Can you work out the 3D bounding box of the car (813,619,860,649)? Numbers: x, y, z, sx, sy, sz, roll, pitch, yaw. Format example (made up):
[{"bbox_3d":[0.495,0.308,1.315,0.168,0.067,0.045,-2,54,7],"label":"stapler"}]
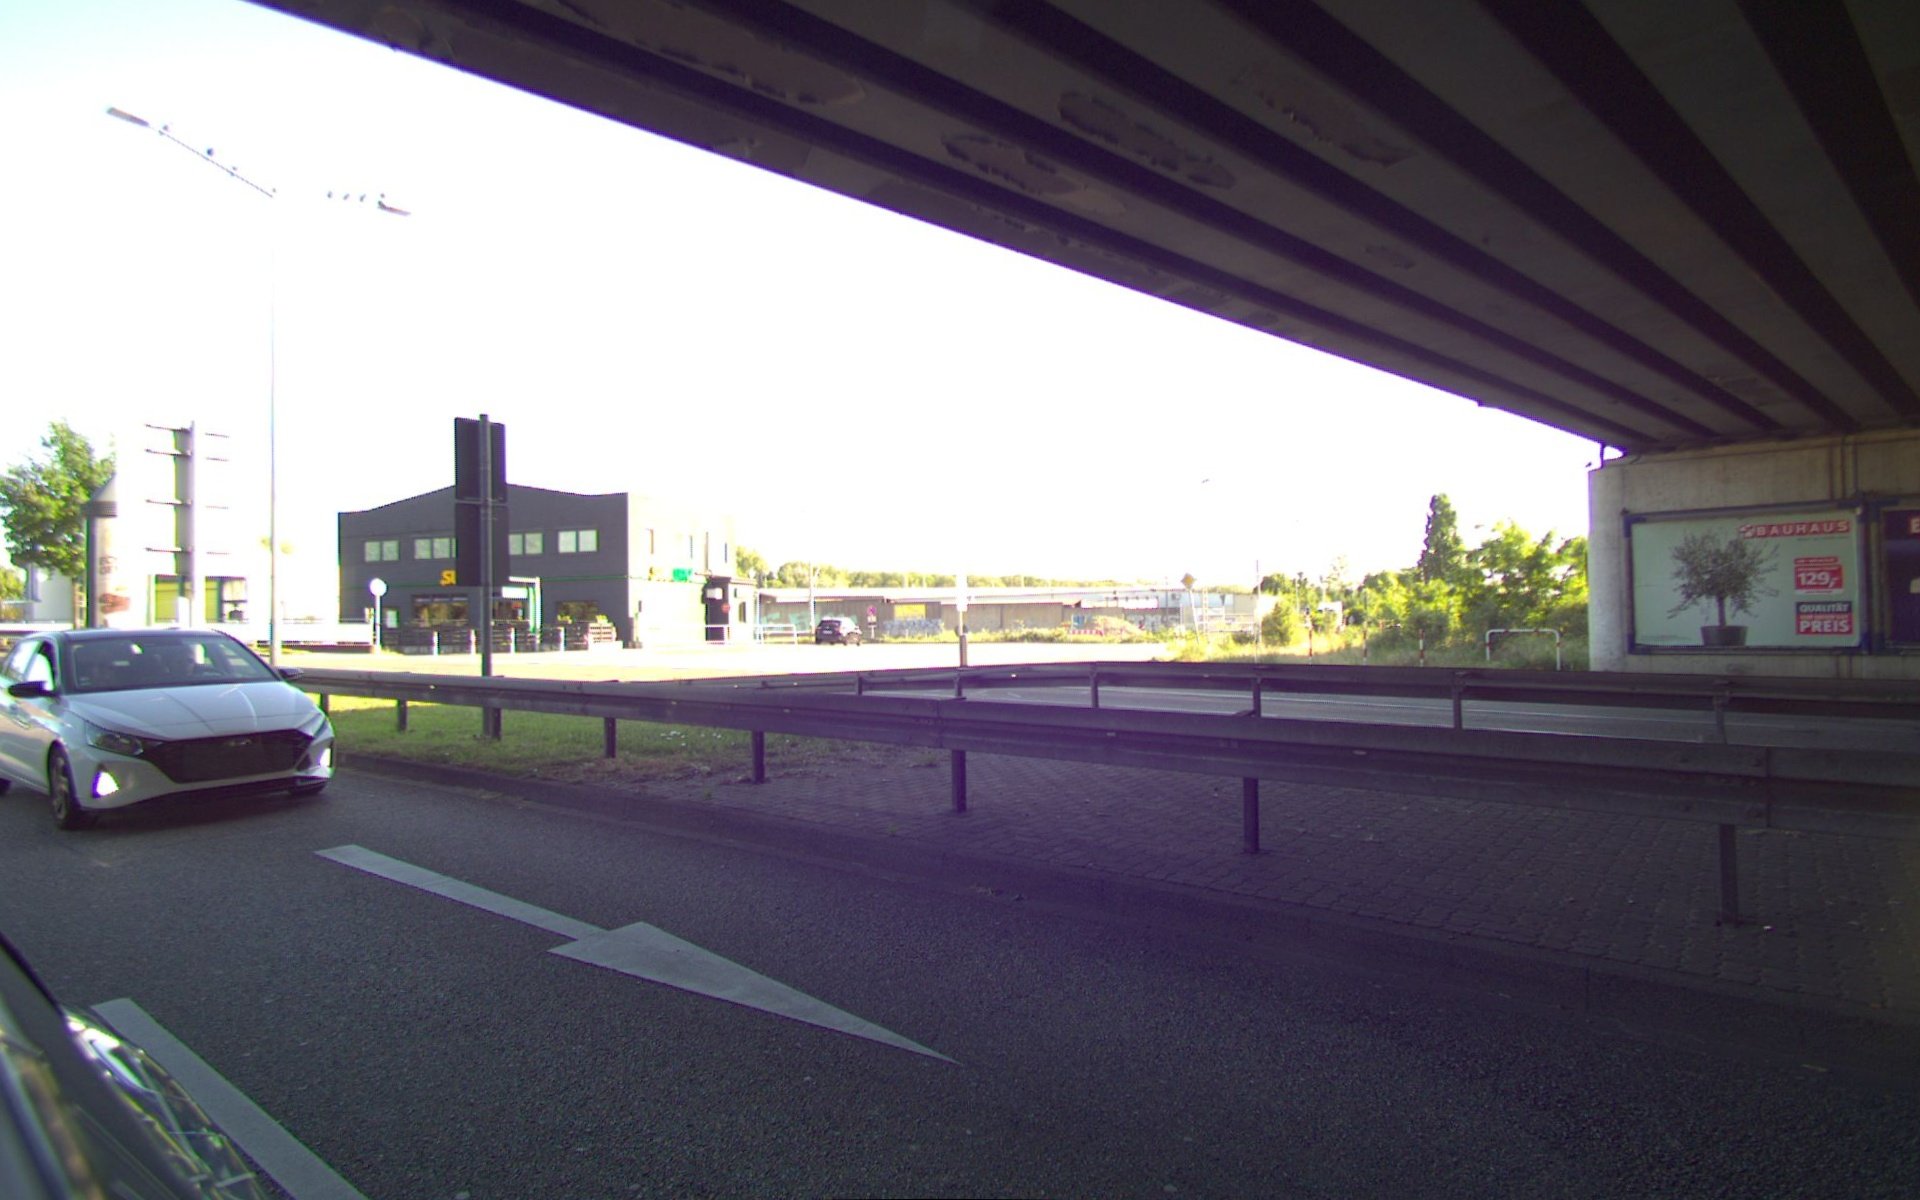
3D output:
[{"bbox_3d":[-6.694,1.832,55.065,1.858,1.453,3.996,-1,0,3],"label":"car"}]

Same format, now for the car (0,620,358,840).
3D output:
[{"bbox_3d":[-6.907,0.925,8.514,3.862,1.414,1.718,-2,-1,35],"label":"car"}]
